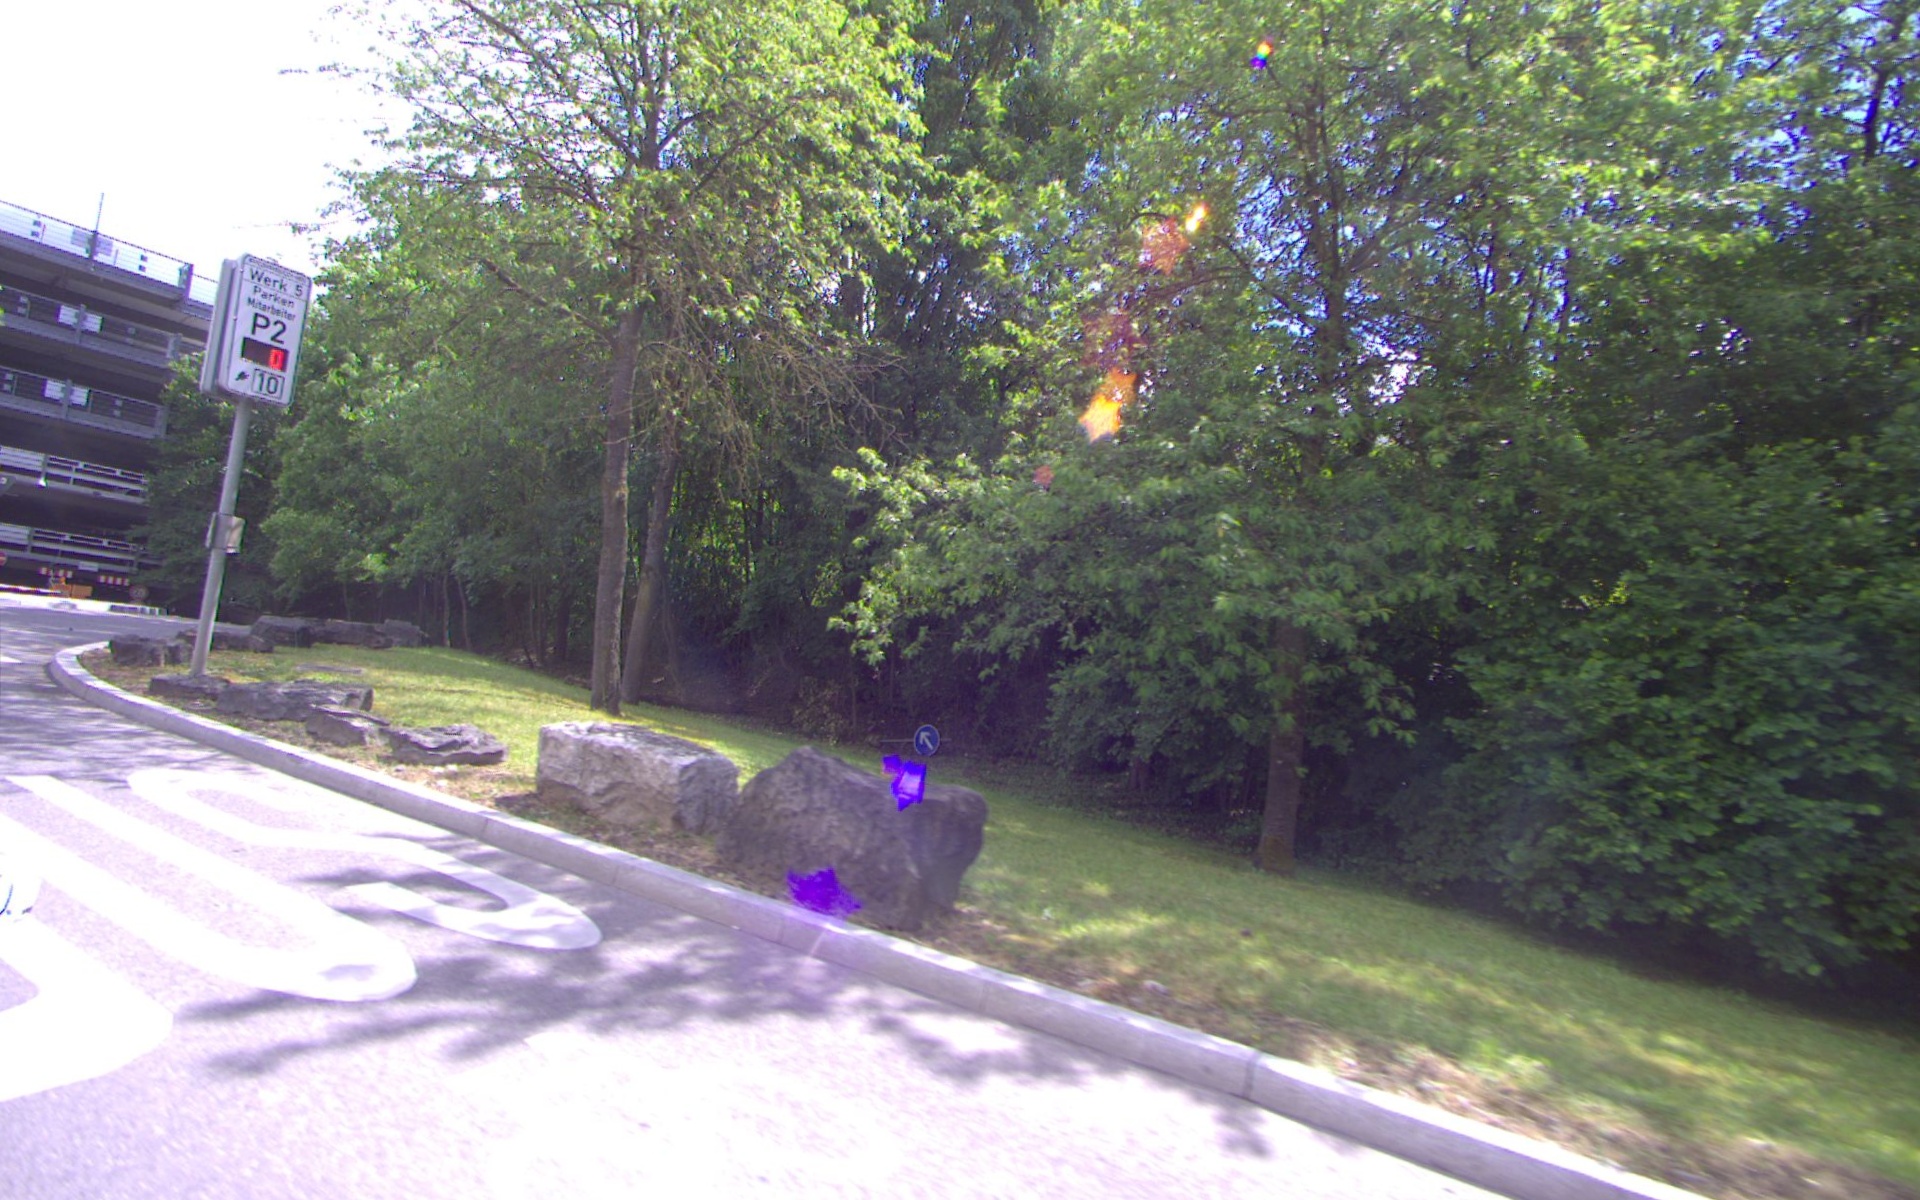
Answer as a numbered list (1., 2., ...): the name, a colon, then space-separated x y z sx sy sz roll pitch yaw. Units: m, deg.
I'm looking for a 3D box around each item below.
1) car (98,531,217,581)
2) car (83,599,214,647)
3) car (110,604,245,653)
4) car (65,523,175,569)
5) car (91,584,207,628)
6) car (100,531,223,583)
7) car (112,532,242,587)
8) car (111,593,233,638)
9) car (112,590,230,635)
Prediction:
1. car: -39.634 -2.146 49.741 4.306 1.648 1.976 12 -4 -43
2. car: -36.140 1.026 44.857 4.306 1.433 1.976 12 -4 -43
3. car: -33.643 1.246 43.310 4.306 1.433 1.976 12 -4 -43
4. car: -45.026 -2.862 53.964 4.306 1.648 1.976 12 -4 -43
5. car: -40.999 0.328 50.904 4.306 1.505 1.976 12 -4 -43
6. car: -38.246 -2.043 48.244 4.306 1.648 1.976 12 -4 -43
7. car: -34.975 -1.794 44.998 4.306 1.648 1.976 12 -4 -43
8. car: -37.608 0.760 48.074 4.306 1.433 1.976 12 -4 -43
9. car: -38.900 0.634 49.671 4.306 1.505 1.976 12 -4 -43
